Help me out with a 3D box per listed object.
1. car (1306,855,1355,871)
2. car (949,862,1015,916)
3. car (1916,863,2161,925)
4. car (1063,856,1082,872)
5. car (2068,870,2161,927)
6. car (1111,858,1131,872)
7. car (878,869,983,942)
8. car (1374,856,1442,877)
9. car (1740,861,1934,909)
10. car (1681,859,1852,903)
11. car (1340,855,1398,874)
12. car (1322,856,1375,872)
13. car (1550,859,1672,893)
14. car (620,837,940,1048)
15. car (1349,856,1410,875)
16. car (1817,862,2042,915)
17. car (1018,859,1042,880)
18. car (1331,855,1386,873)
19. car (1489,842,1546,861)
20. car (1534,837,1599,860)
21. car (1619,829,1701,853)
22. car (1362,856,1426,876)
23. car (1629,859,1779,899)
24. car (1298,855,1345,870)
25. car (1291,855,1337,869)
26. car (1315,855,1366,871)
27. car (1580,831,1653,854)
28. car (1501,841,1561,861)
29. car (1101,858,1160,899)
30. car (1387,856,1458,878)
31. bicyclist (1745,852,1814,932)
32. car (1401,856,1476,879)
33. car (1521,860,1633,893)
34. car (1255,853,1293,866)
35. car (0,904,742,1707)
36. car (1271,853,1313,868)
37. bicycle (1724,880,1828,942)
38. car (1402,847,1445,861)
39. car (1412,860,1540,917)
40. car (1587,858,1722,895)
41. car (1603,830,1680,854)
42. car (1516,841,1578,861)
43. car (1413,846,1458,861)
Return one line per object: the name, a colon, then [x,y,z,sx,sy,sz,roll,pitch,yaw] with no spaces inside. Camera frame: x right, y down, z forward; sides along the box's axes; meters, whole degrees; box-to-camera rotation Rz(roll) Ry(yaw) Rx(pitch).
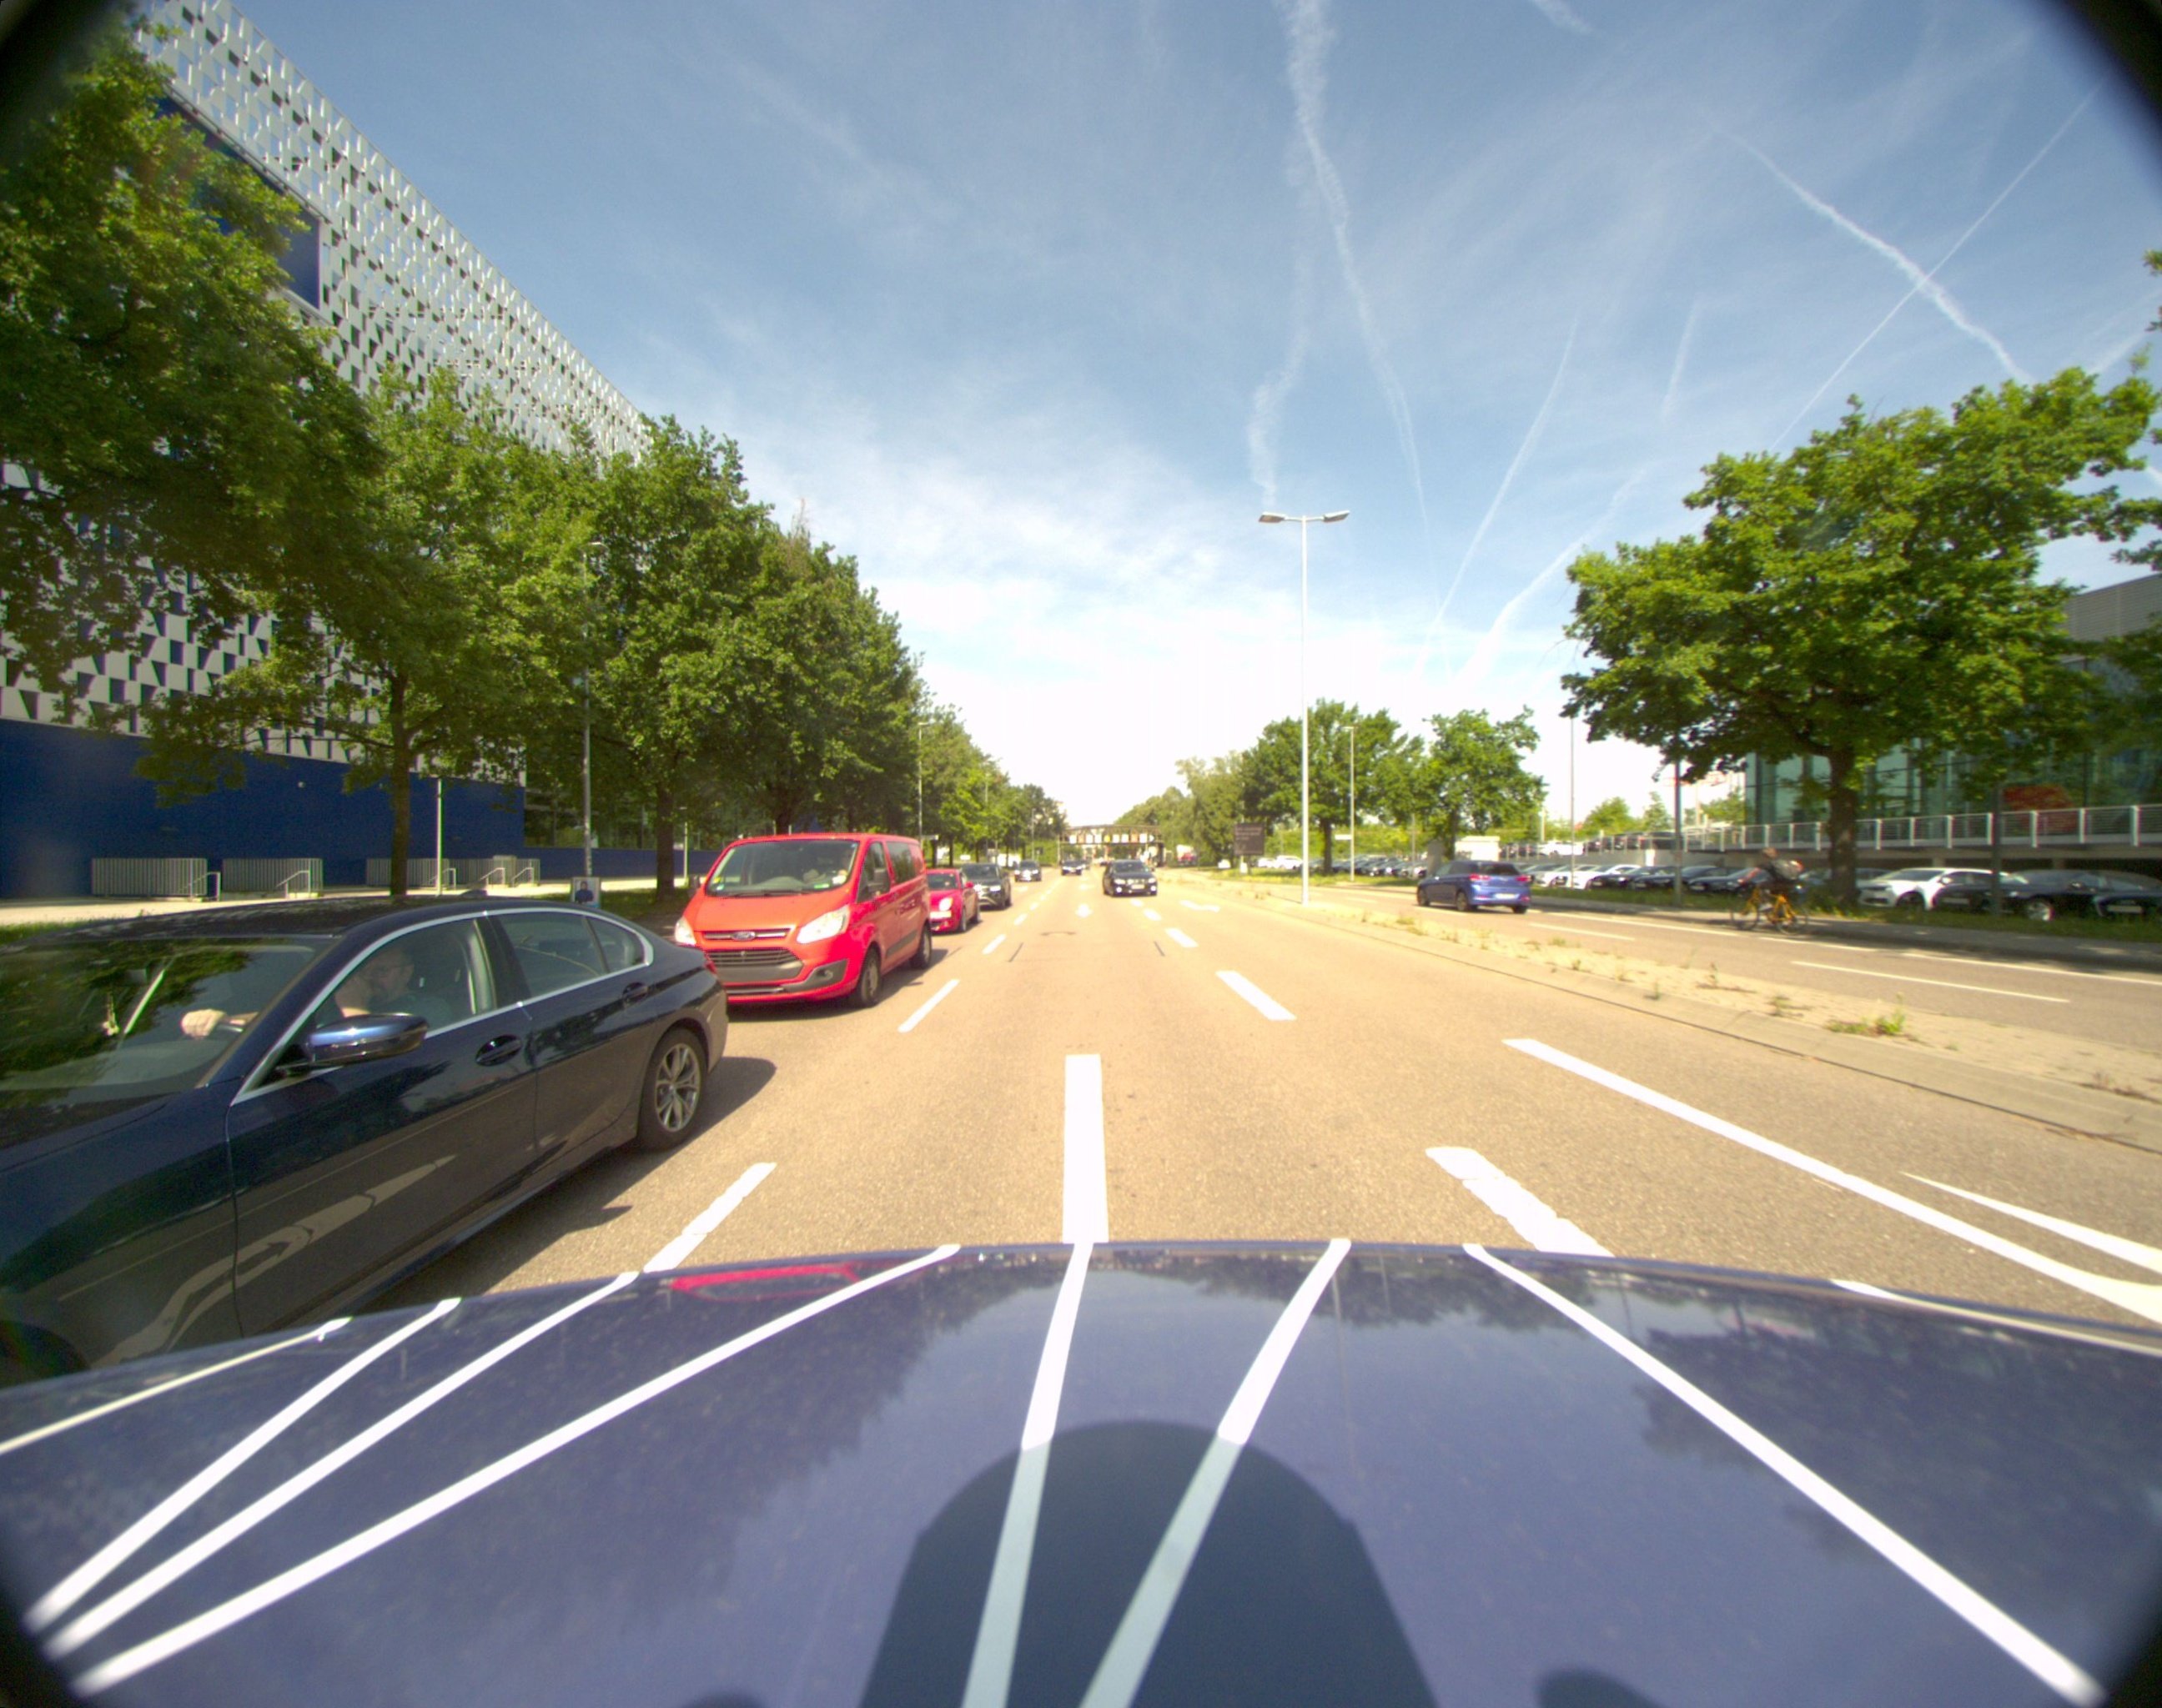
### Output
car: [24.503,0.904,74.615,4.196,1.315,1.690,3,0,1]
car: [-3.210,1.089,25.269,1.649,1.530,3.999,-3,0,-1]
car: [23.368,0.942,18.457,4.196,1.239,1.690,3,0,1]
car: [-0.836,1.016,75.702,1.848,1.530,4.000,0,0,-1]
car: [23.539,0.994,15.598,4.196,1.116,1.719,3,0,1]
car: [4.182,1.140,79.860,1.866,1.503,4.000,0,0,0]
car: [-3.378,1.113,17.726,1.692,1.414,3.915,-1,0,-1]
car: [23.981,0.889,55.827,4.196,1.315,1.690,3,0,1]
car: [23.177,0.927,23.410,4.196,1.198,1.690,3,0,1]
car: [23.288,0.902,25.935,4.196,1.247,1.690,3,0,1]
car: [24.174,0.879,63.831,4.196,1.315,1.690,3,0,1]
car: [24.405,0.894,69.383,4.196,1.315,1.690,3,0,1]
car: [23.595,0.957,33.955,4.196,1.248,1.690,3,0,1]
car: [-3.235,0.825,9.448,2.014,1.896,4.809,-2,0,0]
car: [24.077,0.897,61.300,4.196,1.315,1.690,3,0,1]
car: [23.280,0.933,20.955,4.196,1.188,1.690,3,0,1]
car: [-3.793,1.153,57.258,1.649,1.453,3.999,-2,0,-2]
car: [24.405,0.872,66.846,4.196,1.315,1.690,3,0,1]
car: [40.205,-0.223,70.061,4.196,1.490,1.690,3,0,1]
car: [40.095,-0.428,62.778,4.196,1.722,1.690,3,0,1]
car: [39.753,-0.891,52.231,4.196,1.397,1.690,3,0,1]
car: [24.130,0.911,58.721,4.196,1.315,1.690,3,0,1]
car: [23.386,0.925,28.631,4.196,1.252,1.690,3,0,1]
car: [24.430,0.877,77.116,4.196,1.315,1.690,3,0,1]
car: [24.473,0.838,79.906,4.196,1.315,1.690,3,0,1]
car: [24.566,0.873,72.068,4.196,1.315,1.690,3,0,1]
car: [40.543,-0.845,57.587,4.196,1.490,1.690,3,0,1]
car: [40.110,-0.264,67.771,4.196,1.490,1.690,3,0,1]
car: [1.975,0.956,31.743,1.883,1.513,4.867,-2,0,-3]
car: [24.034,0.894,53.612,4.196,1.315,1.690,3,0,1]
bicyclist: [14.344,0.754,15.626,0.578,1.587,0.910,1,0,3]
car: [24.010,0.875,51.066,4.196,1.315,1.690,3,0,1]
car: [23.684,1.052,36.361,4.196,1.317,1.690,3,0,1]
car: [23.597,0.714,93.133,4.196,1.370,1.690,3,0,1]
car: [-3.106,1.050,2.644,1.800,1.420,4.538,-1,0,0]
car: [23.626,0.736,85.347,4.196,1.490,1.690,3,0,1]
bicycle: [14.353,1.143,15.756,0.572,1.143,1.770,1,0,3]
car: [40.329,0.012,89.573,4.196,1.490,1.690,3,0,1]
car: [11.254,0.935,21.981,1.732,1.430,3.870,2,0,1]
car: [23.528,0.913,31.267,4.196,1.291,1.690,3,0,1]
car: [40.431,-0.877,54.854,4.196,1.490,1.690,3,0,1]
car: [40.109,-0.280,65.437,4.196,1.490,1.690,3,0,1]
car: [40.121,-0.022,86.018,4.196,1.490,1.690,3,0,1]
